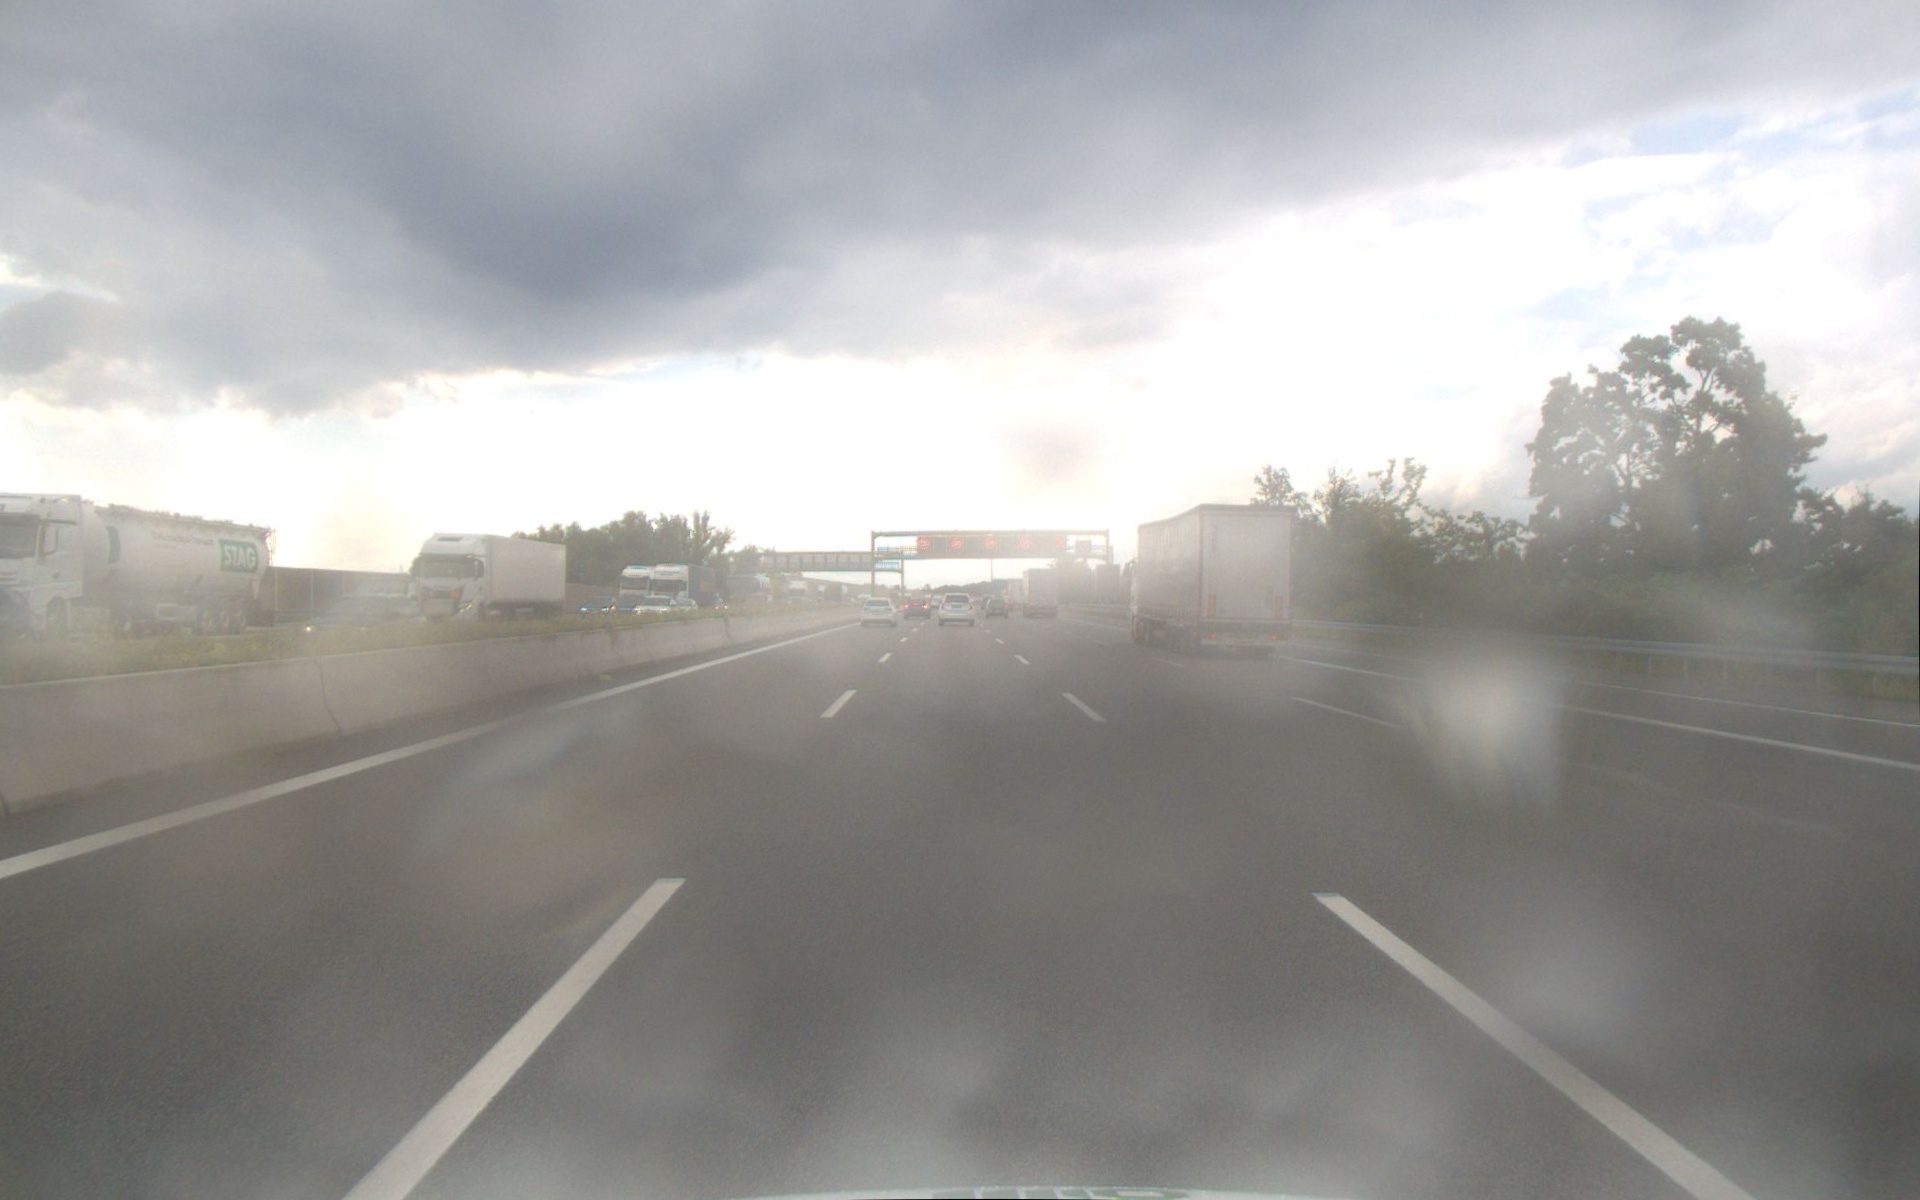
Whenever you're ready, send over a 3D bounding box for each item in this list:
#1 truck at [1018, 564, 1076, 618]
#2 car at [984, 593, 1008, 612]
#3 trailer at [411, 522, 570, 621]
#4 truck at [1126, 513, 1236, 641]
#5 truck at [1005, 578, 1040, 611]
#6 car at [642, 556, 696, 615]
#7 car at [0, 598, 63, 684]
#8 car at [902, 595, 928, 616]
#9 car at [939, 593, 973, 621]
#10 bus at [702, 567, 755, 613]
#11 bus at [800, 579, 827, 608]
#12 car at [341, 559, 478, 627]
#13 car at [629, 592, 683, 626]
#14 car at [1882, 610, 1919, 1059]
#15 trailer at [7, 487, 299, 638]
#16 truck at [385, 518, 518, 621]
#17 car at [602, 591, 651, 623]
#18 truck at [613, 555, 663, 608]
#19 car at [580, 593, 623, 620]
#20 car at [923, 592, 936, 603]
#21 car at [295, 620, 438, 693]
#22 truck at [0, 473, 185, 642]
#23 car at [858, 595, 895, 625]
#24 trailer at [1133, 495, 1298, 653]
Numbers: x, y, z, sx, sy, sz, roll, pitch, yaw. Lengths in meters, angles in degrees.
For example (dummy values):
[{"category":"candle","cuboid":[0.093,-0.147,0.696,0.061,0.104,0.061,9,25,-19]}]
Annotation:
[{"category":"truck","cuboid":[7.372,-0.767,142.726,4.095,4.363,12.610,2,0,-1]},{"category":"car","cuboid":[2.891,0.168,132.869,1.798,1.466,4.055,1,0,0]},{"category":"trailer","cuboid":[-21.754,-1.217,77.773,3.585,4.180,13.398,1,0,0]},{"category":"truck","cuboid":[7.469,-0.757,56.788,2.900,4.090,6.589,1,0,0]},{"category":"truck","cuboid":[8.386,-0.697,222.467,4.157,4.249,11.988,1,0,0]},{"category":"car","cuboid":[-21.867,-1.074,124.560,2.922,4.222,6.041,1,0,-1]},{"category":"car","cuboid":[-17.537,0.703,28.491,1.751,1.479,4.563,1,0,-2]},{"category":"car","cuboid":[-3.181,0.376,116.583,1.736,1.466,4.054,1,0,-2]},{"category":"car","cuboid":[-0.242,0.346,90.293,1.736,1.466,4.054,1,0,-2]},{"category":"bus","cuboid":[-19.621,-0.787,140.894,2.831,3.674,12.756,1,0,-1]},{"category":"bus","cuboid":[-19.700,-0.834,223.201,2.599,3.744,10.635,0,0,1]},{"category":"car","cuboid":[-17.576,-0.210,53.163,2.233,2.002,6.087,1,0,1]},{"category":"car","cuboid":[-14.281,0.417,77.906,1.751,1.479,4.563,1,0,-2]},{"category":"car","cuboid":[3.900,0.782,4.078,1.418,1.466,3.162,1,0,-2]},{"category":"trailer","cuboid":[-26.048,-1.089,54.537,3.586,4.311,12.465,1,0,-1]},{"category":"truck","cuboid":[-21.814,-1.258,71.376,3.585,4.118,6.524,1,0,0]},{"category":"car","cuboid":[-17.553,0.351,87.268,1.751,1.589,4.563,1,0,-2]},{"category":"truck","cuboid":[-26.482,-1.491,136.282,2.841,4.188,6.621,1,0,-1]},{"category":"car","cuboid":[-22.092,0.405,102.124,1.751,1.619,4.384,1,0,-1]},{"category":"car","cuboid":[-4.131,-0.302,225.302,1.736,1.466,4.055,1,0,0]},{"category":"car","cuboid":[-13.643,1.258,38.304,1.751,1.479,4.563,1,0,-2]},{"category":"truck","cuboid":[-25.939,-1.131,47.352,3.586,4.394,8.236,1,0,-1]},{"category":"car","cuboid":[-4.201,0.490,83.789,1.736,1.466,3.873,1,0,-1]},{"category":"trailer","cuboid":[7.423,-0.704,50.294,2.900,4.090,14.119,1,0,0]}]
